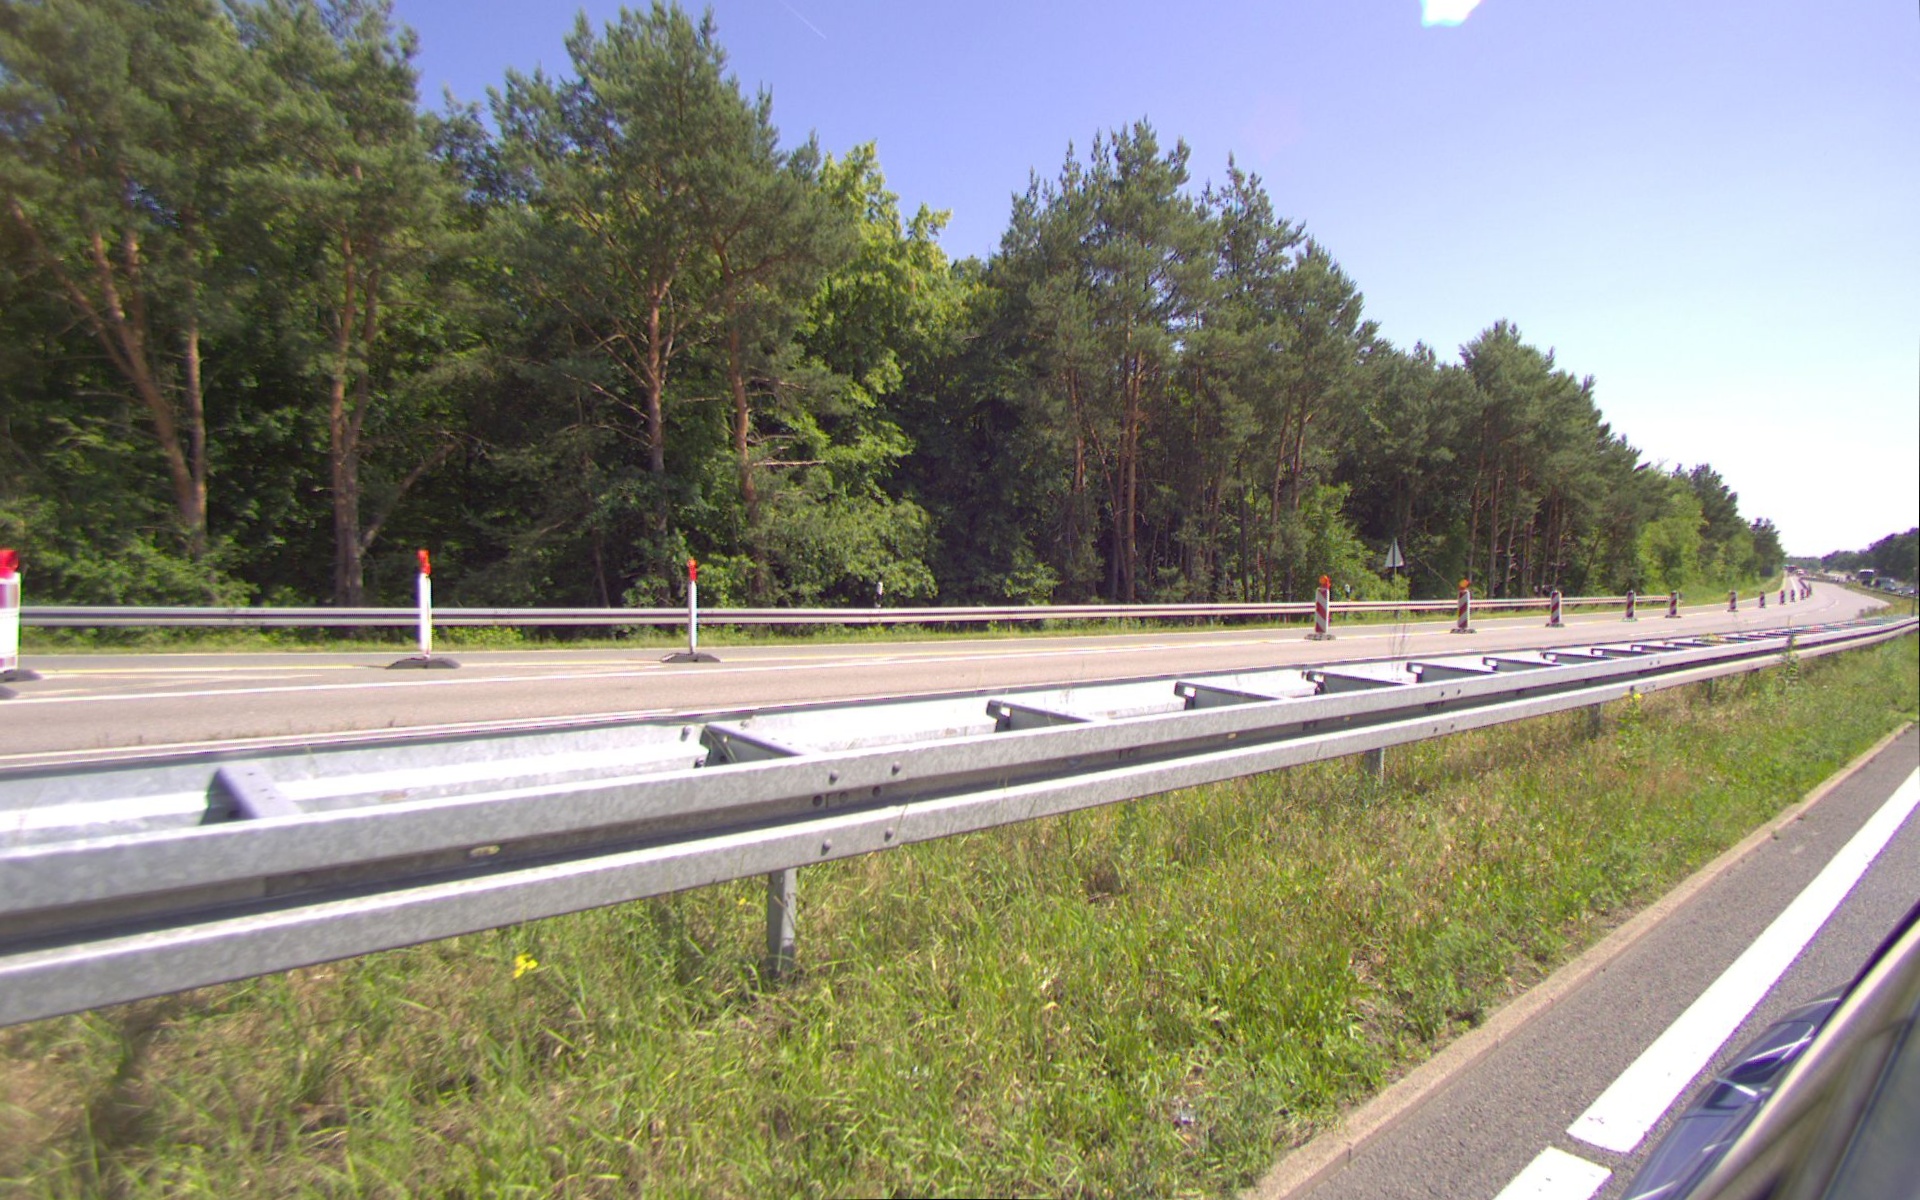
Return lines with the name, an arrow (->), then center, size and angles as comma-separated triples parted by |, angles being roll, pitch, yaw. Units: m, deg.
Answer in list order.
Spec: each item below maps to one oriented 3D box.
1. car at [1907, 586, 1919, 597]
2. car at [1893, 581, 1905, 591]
car -> 138.726, -1.222, 146.928 | 3.915, 1.677, 1.524 | 0, 1, -44
car -> 163.330, -2.481, 176.009 | 1.522, 1.677, 3.920 | 2, 1, 42
